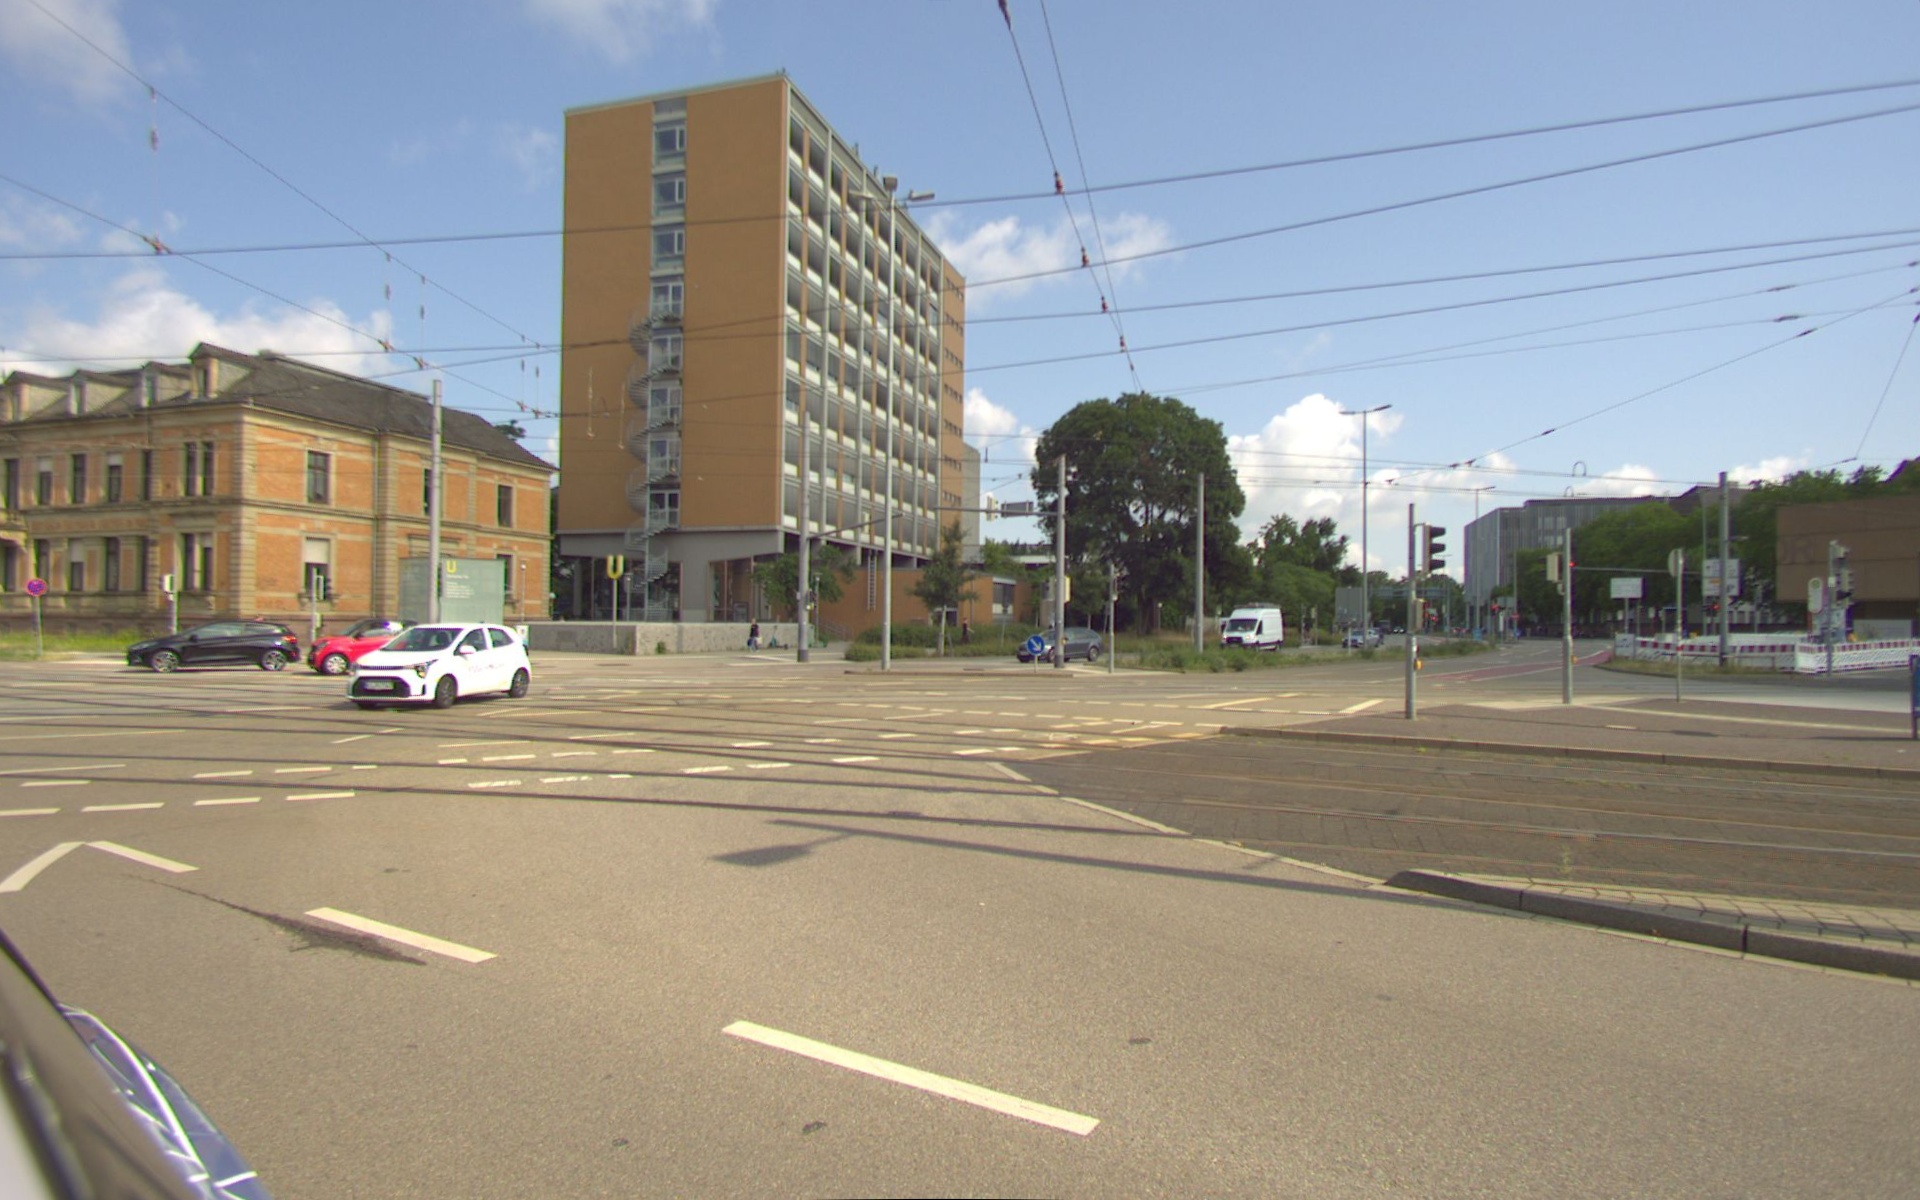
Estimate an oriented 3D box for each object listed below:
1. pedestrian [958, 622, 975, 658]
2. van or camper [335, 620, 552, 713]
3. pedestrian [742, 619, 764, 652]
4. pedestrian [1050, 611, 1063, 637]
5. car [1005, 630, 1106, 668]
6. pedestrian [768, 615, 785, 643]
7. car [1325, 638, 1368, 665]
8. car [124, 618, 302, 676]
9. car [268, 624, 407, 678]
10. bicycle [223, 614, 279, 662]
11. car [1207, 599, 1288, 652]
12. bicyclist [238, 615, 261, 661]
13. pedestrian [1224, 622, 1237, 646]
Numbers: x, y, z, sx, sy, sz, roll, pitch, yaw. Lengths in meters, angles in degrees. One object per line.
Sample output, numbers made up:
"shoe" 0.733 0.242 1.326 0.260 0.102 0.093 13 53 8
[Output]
"pedestrian" 0.374 2.359 59.493 0.795 2.028 0.726 3 4 -7
"van or camper" -9.369 1.152 18.748 1.609 1.487 3.990 -1 -1 8
"pedestrian" -10.243 1.744 50.082 0.771 1.600 0.756 -1 -2 36
"pedestrian" 5.927 1.480 62.235 0.571 1.531 0.481 0 5 -39
"car" 4.091 2.023 42.863 2.000 1.290 4.481 3 2 42
"pedestrian" -10.530 1.677 58.171 0.923 1.600 0.767 1 -2 -13
"car" 30.296 3.979 79.324 1.998 1.785 4.087 2 2 39
"car" -20.919 1.270 28.472 3.935 1.465 1.718 0 0 -37
"car" -16.824 1.343 27.394 2.965 1.223 1.612 -2 1 -43
"bicycle" -26.773 1.418 38.245 1.609 1.791 0.734 1 -2 -27
"car" 16.615 1.478 58.241 2.482 2.901 6.072 -1 -2 37
"bicyclist" -26.856 1.417 38.241 0.645 1.683 0.576 0 2 -28
"pedestrian" 21.573 2.680 80.650 0.761 1.885 0.636 -1 -2 43
